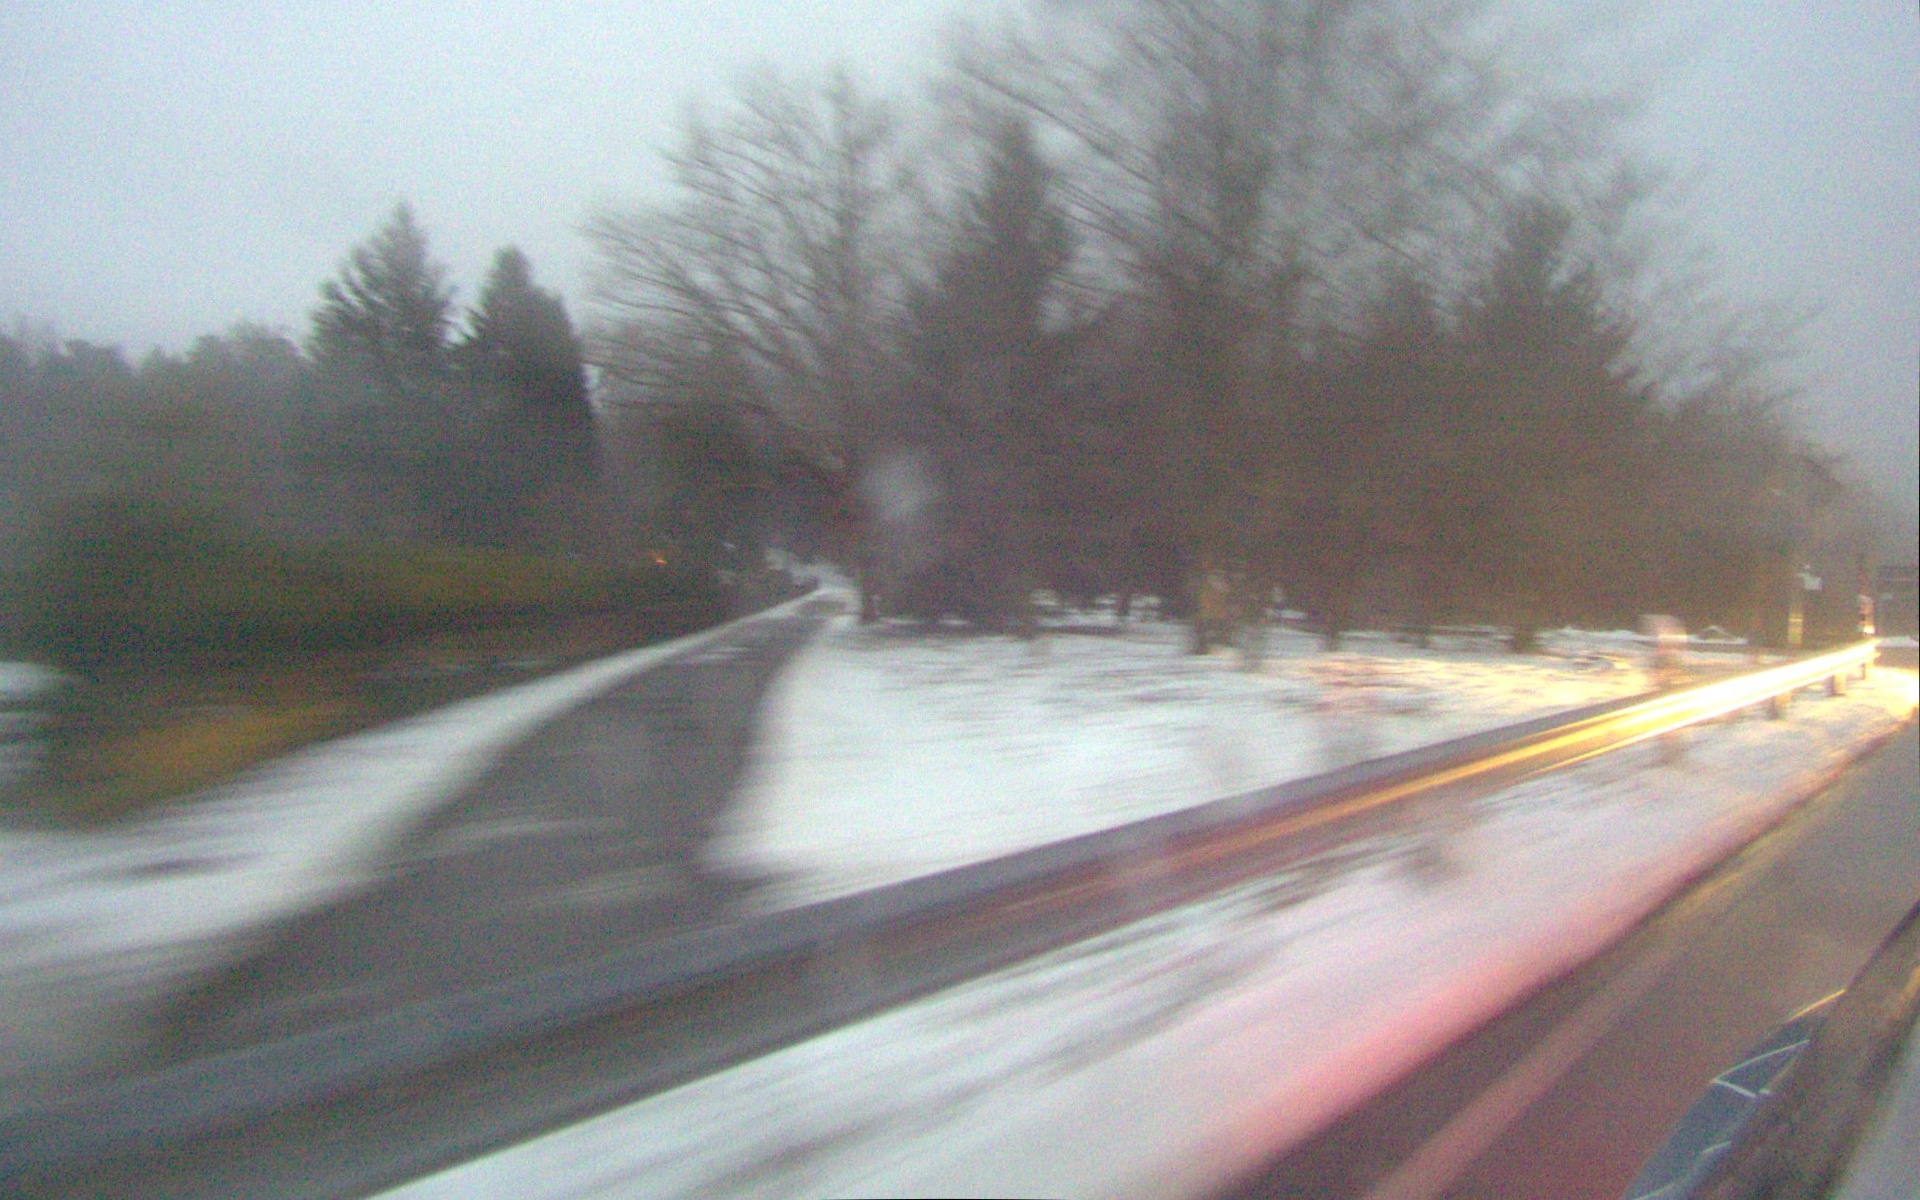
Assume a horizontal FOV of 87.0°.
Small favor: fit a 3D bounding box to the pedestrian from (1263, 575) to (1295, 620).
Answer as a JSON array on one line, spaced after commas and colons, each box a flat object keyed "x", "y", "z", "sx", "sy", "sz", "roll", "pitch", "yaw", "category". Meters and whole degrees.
[{"x": 13.721, "y": -0.102, "z": 43.567, "sx": 0.943, "sy": 1.851, "sz": 0.927, "roll": 2, "pitch": -1, "yaw": -17, "category": "pedestrian"}]
